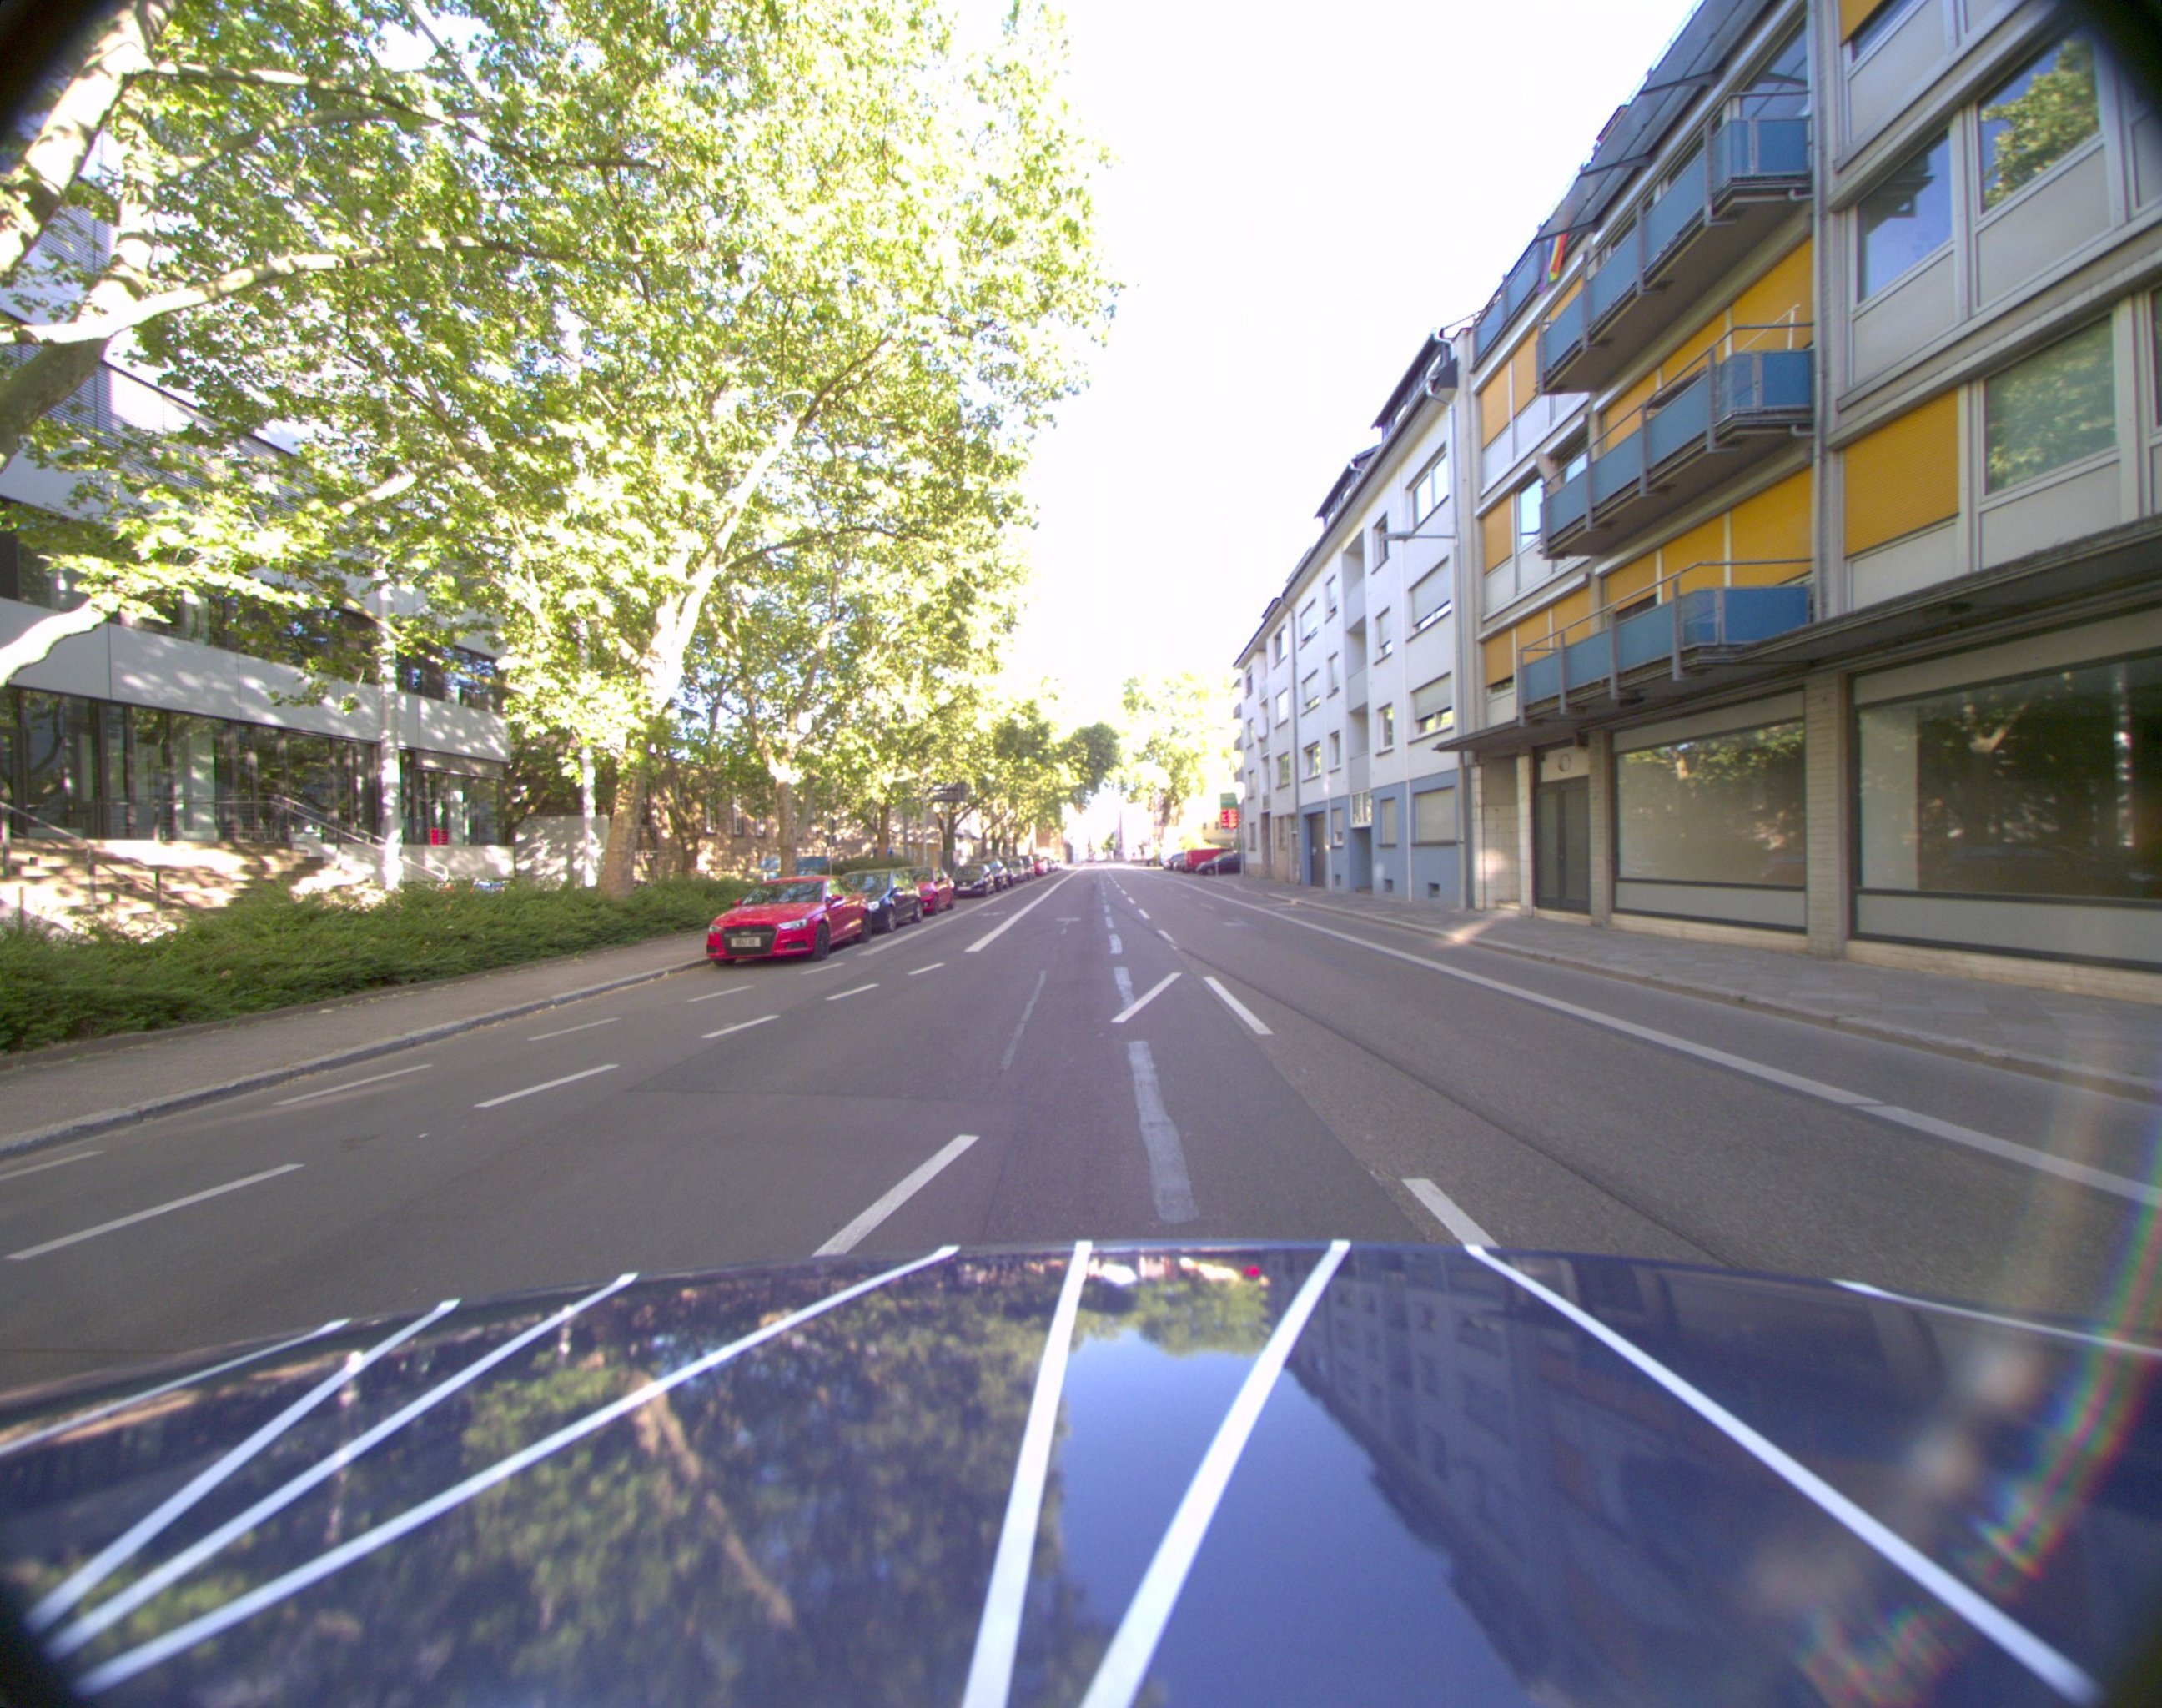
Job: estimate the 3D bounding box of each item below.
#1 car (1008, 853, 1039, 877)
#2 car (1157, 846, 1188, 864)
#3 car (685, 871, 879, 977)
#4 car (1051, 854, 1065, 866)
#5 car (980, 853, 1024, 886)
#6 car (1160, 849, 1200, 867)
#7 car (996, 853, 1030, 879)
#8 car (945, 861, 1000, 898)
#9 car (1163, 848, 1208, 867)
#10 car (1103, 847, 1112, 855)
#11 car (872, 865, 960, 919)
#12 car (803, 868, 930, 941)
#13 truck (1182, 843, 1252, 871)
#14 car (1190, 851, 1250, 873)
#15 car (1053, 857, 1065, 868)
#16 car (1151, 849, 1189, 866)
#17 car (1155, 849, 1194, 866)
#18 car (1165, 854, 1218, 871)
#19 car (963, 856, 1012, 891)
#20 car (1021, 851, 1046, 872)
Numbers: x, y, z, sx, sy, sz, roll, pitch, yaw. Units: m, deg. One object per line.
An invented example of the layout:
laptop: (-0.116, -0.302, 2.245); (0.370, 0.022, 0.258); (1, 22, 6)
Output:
car: (-4.171, 0.755, 55.510); (1.831, 1.608, 4.177); (-1, 0, 1)
car: (10.226, 0.111, 85.223); (3.267, 1.927, 1.693); (-2, 1, 2)
car: (-5.112, 1.109, 13.657); (1.775, 1.416, 4.173); (-3, 0, 0)
car: (-3.063, 0.825, 102.875); (1.707, 1.459, 3.809); (-1, 0, 0)
car: (-4.547, 0.872, 44.192); (1.998, 1.715, 4.262); (-2, 1, 1)
car: (9.877, 0.384, 75.910); (3.658, 1.578, 1.659); (-2, 1, -5)
car: (-4.443, 0.743, 50.453); (1.798, 1.608, 4.075); (-1, 0, 1)
car: (-4.678, 1.086, 33.263); (1.745, 1.430, 4.000); (-1, 0, 1)
car: (10.077, 0.329, 73.361); (3.998, 1.618, 1.702); (-2, 1, -5)
car: (6.760, -0.790, 193.461); (1.998, 2.002, 3.999); (-2, 1, 1)
car: (-5.028, 1.106, 23.740); (1.790, 1.429, 4.000); (-1, 0, 1)
car: (-5.042, 1.131, 18.481); (1.813, 1.449, 4.000); (-1, 0, 2)
truck: (10.725, 0.240, 60.096); (5.088, 2.009, 2.000); (-2, 1, 0)
car: (9.993, 0.537, 54.843); (3.997, 1.385, 1.781); (-2, 1, -1)
car: (-2.630, 1.033, 92.280); (1.300, 1.220, 3.241); (-1, 0, 0)
car: (9.483, 0.377, 80.860); (3.728, 1.579, 1.743); (-2, 1, -5)
car: (9.613, 0.381, 78.568); (3.703, 1.573, 1.718); (-2, 1, -5)
car: (9.083, 0.680, 62.808); (4.033, 1.265, 1.906); (-2, 1, -1)
car: (-4.624, 0.924, 38.209); (1.848, 1.572, 4.232); (-2, 0, 1)
car: (-4.110, 0.620, 66.179); (1.876, 1.685, 4.166); (-1, 0, 1)
